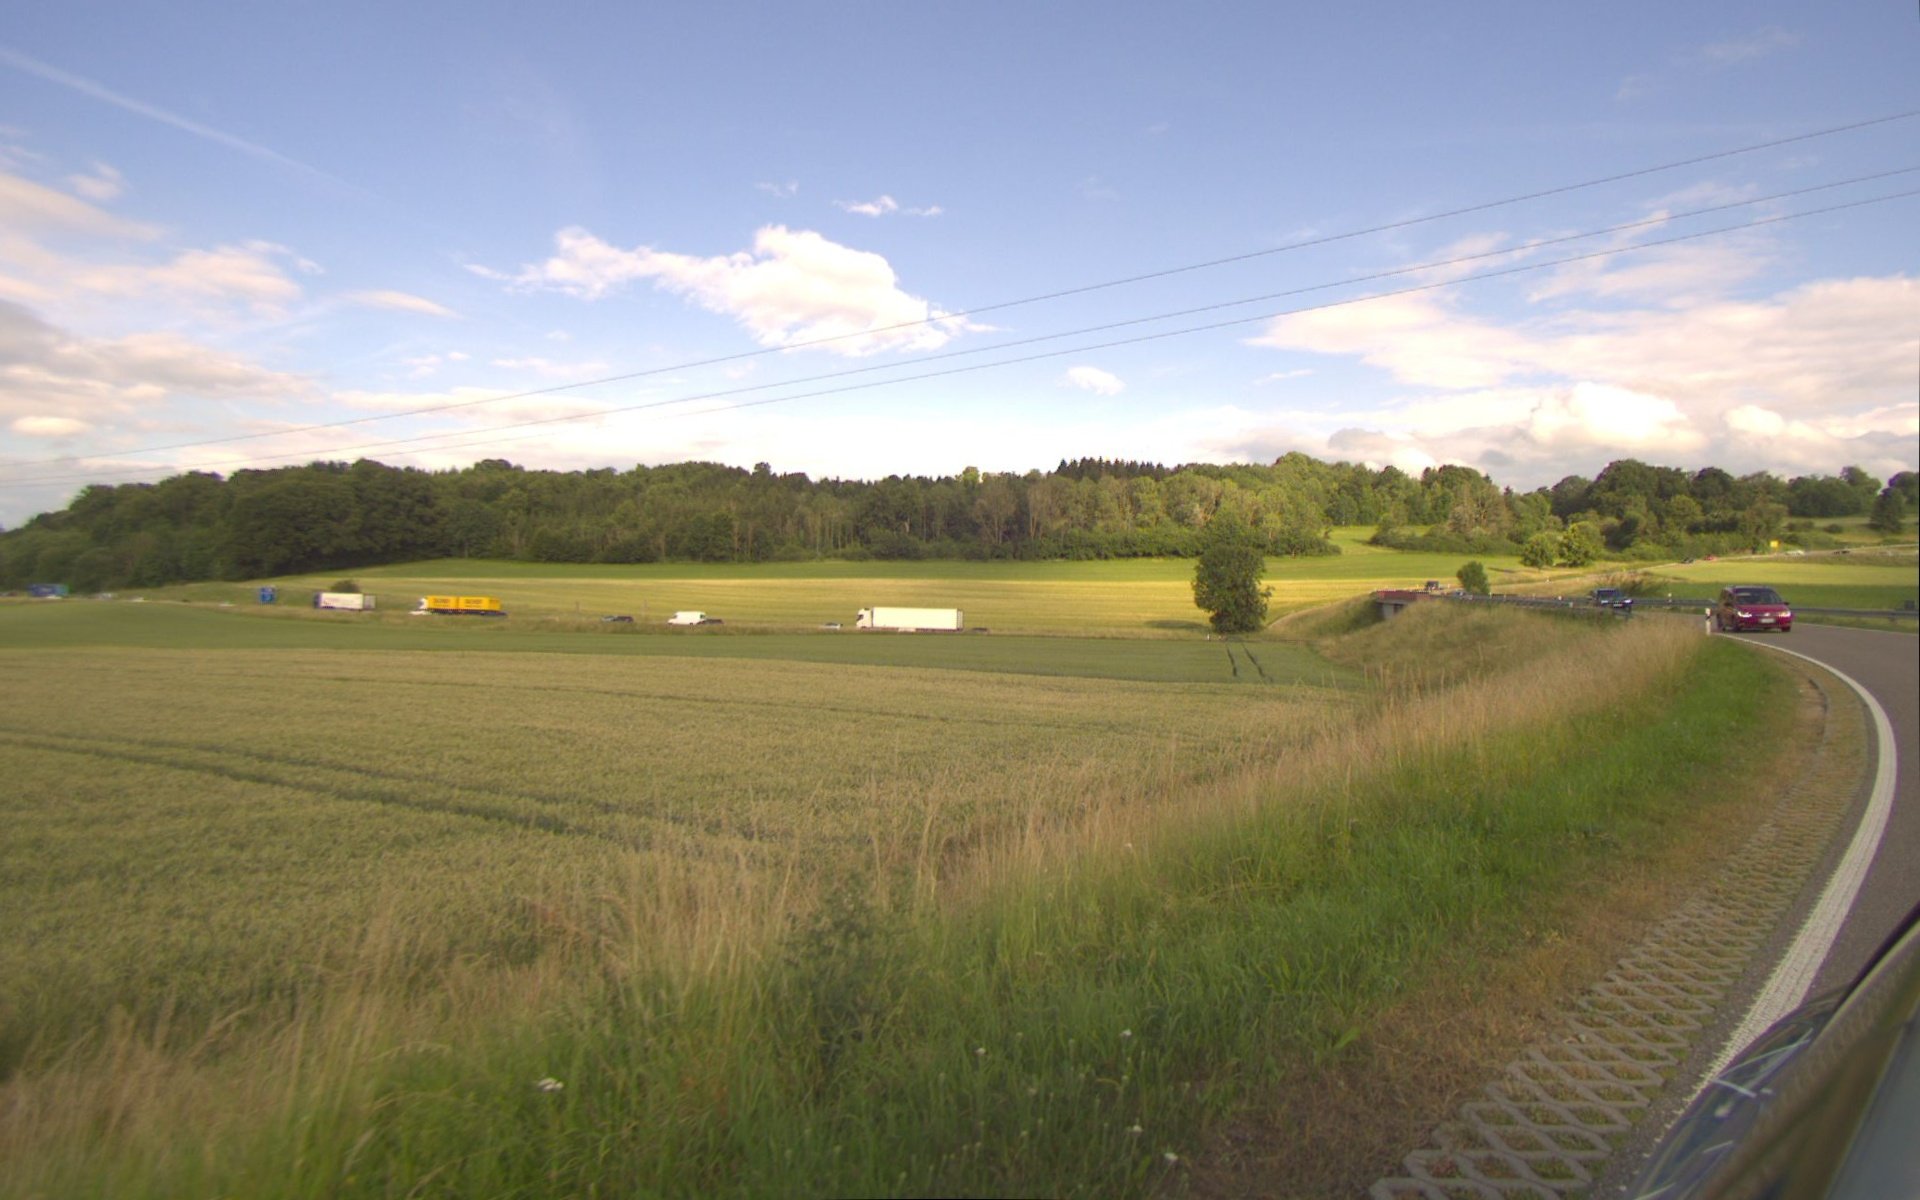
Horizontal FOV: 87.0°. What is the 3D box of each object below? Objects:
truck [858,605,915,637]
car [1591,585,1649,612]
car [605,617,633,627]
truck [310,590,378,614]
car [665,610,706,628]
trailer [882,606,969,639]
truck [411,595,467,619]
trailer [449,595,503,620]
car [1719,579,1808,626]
[{"bbox_3d":[-10.957,3.152,151.461,7.955,4.526,3.009,1,-2,20],"label":"truck"},{"bbox_3d":[42.352,-0.104,65.014,1.795,1.631,3.985,1,0,12],"label":"car"},{"bbox_3d":[-54.621,3.450,162.121,3.947,1.539,1.673,0,0,18],"label":"car"},{"bbox_3d":[-122.283,0.376,200.754,14.268,4.043,4.050,2,5,24],"label":"truck"},{"bbox_3d":[-44.647,3.074,164.516,6.044,2.619,2.358,2,-3,19],"label":"car"},{"bbox_3d":[-5.059,3.231,149.291,12.567,4.526,3.011,1,-2,20],"label":"trailer"},{"bbox_3d":[-96.490,1.210,187.315,9.686,4.109,3.812,1,3,22],"label":"truck"},{"bbox_3d":[-87.896,1.312,183.798,9.021,4.109,3.812,1,3,22],"label":"trailer"},{"bbox_3d":[31.711,0.127,40.040,1.803,1.676,3.963,-4,-3,26],"label":"car"}]
